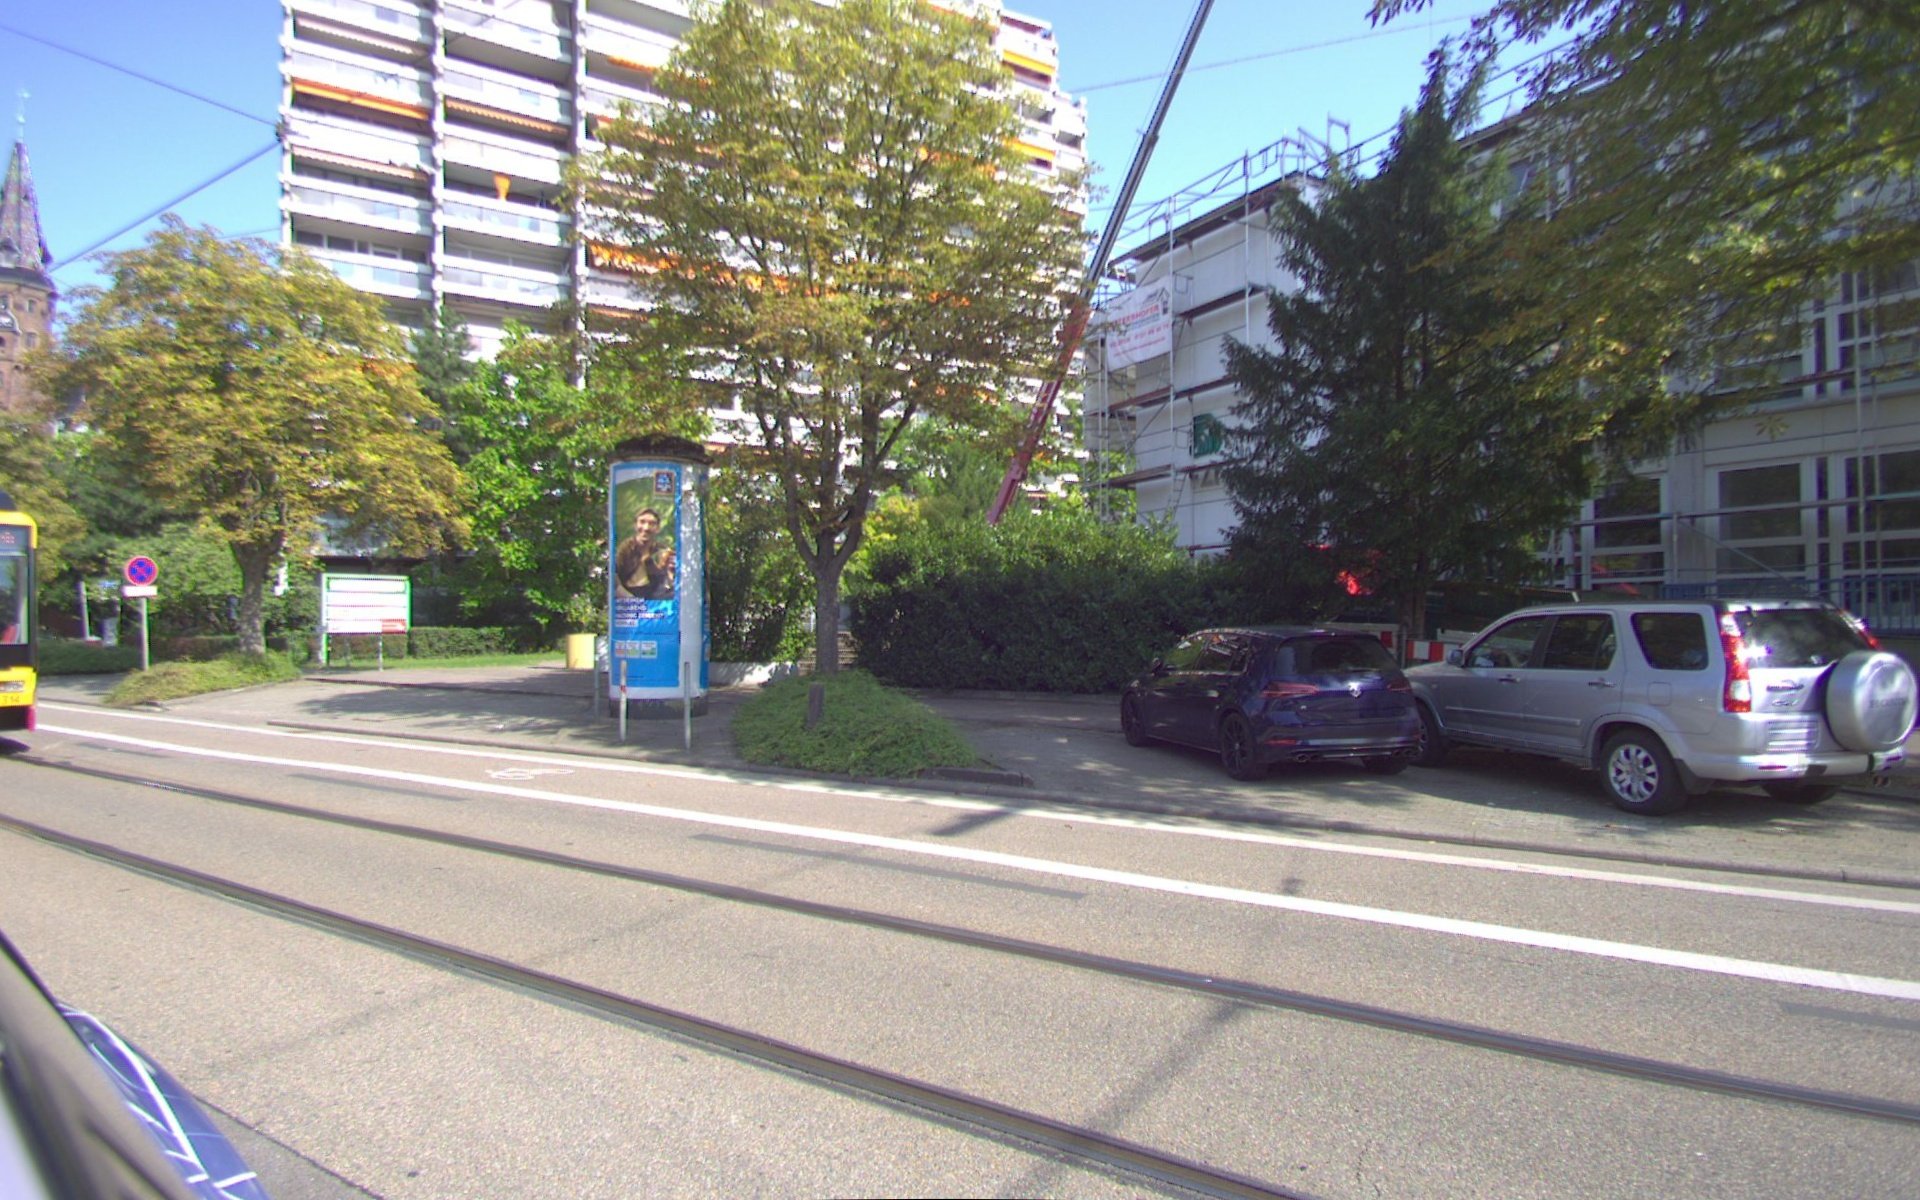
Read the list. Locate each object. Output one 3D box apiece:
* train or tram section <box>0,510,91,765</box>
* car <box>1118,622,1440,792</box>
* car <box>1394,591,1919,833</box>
[{"bbox_3d":[-15.584,0.502,13.842,10.510,2.883,2.659,-1,-2,33],"label":"train or tram section"},{"bbox_3d":[3.113,0.972,10.765,1.666,1.453,3.803,0,-1,-10],"label":"car"},{"bbox_3d":[5.798,0.803,8.894,1.715,1.634,3.805,0,-1,-12],"label":"car"}]
